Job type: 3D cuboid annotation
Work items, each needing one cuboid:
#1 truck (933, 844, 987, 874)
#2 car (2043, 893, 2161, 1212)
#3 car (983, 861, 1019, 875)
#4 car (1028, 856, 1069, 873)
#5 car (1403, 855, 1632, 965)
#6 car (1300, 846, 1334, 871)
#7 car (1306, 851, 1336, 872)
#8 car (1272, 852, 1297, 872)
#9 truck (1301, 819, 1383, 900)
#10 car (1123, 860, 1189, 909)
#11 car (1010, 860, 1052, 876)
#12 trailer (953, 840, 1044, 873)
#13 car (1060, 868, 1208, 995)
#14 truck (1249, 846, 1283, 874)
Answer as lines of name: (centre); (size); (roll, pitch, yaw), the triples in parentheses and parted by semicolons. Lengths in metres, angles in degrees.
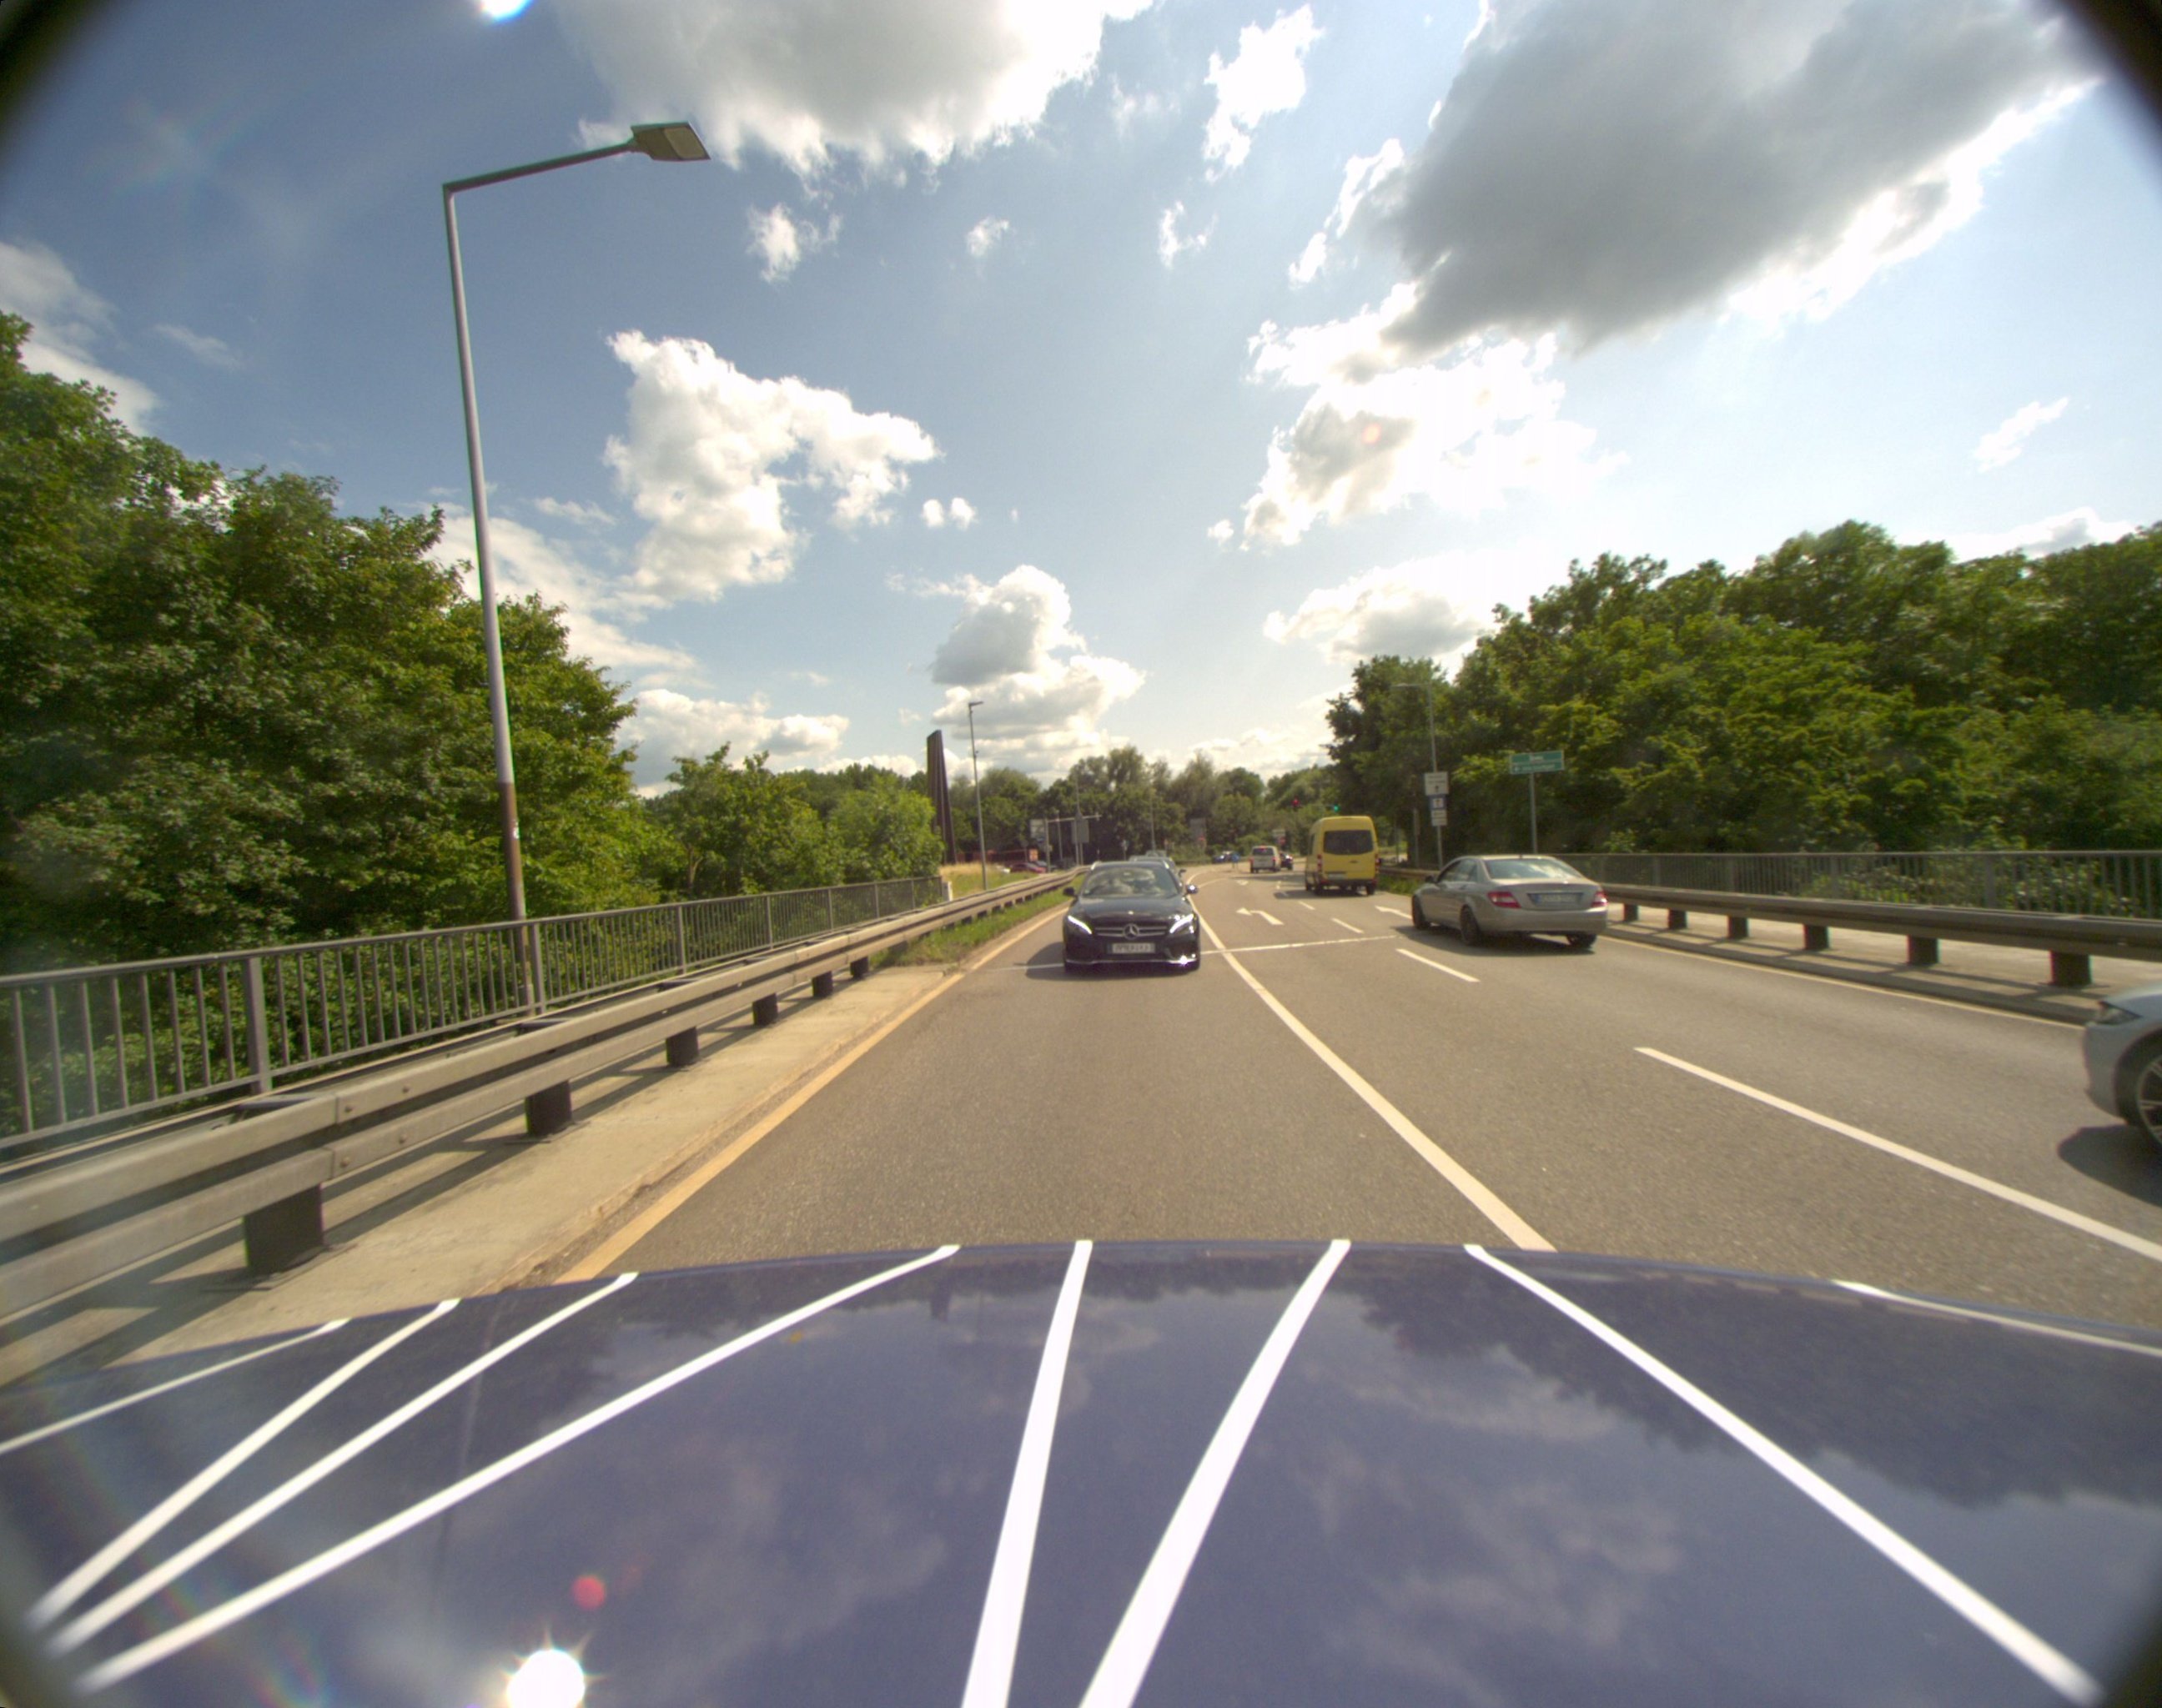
truck: (-16.919, 0.677, 106.091); (6.805, 3.822, 2.782); (-3, 0, 20)
car: (5.533, 0.859, 1.411); (1.798, 1.367, 4.581); (-1, 0, 3)
car: (-9.266, 1.644, 87.871); (4.205, 1.367, 1.649); (-4, -1, 39)
car: (-3.628, 1.182, 84.373); (4.205, 1.635, 1.841); (-4, -1, 39)
car: (6.943, 0.793, 12.673); (1.751, 1.441, 4.339); (-1, 1, 7)
car: (19.078, 0.298, 61.248); (1.995, 1.902, 5.141); (-1, 0, 24)
car: (17.430, 0.527, 55.008); (1.800, 1.381, 4.012); (-1, 0, 21)
car: (16.764, 0.637, 62.547); (1.700, 1.548, 3.827); (-2, 0, 19)
truck: (9.348, 0.184, 27.698); (1.997, 2.605, 6.109); (0, 0, 11)
car: (2.592, 0.956, 25.332); (1.857, 1.355, 4.002); (-1, 1, 10)
car: (-5.287, 1.484, 79.988); (4.205, 1.367, 1.762); (-4, -1, 39)
trailer: (-11.363, 0.355, 104.034); (12.294, 3.827, 2.784); (-3, 0, 20)
car: (0.769, 0.993, 11.490); (1.795, 1.427, 4.370); (-1, 0, 3)
truck: (13.766, 0.395, 56.297); (1.963, 1.902, 5.377); (-2, 0, 18)
